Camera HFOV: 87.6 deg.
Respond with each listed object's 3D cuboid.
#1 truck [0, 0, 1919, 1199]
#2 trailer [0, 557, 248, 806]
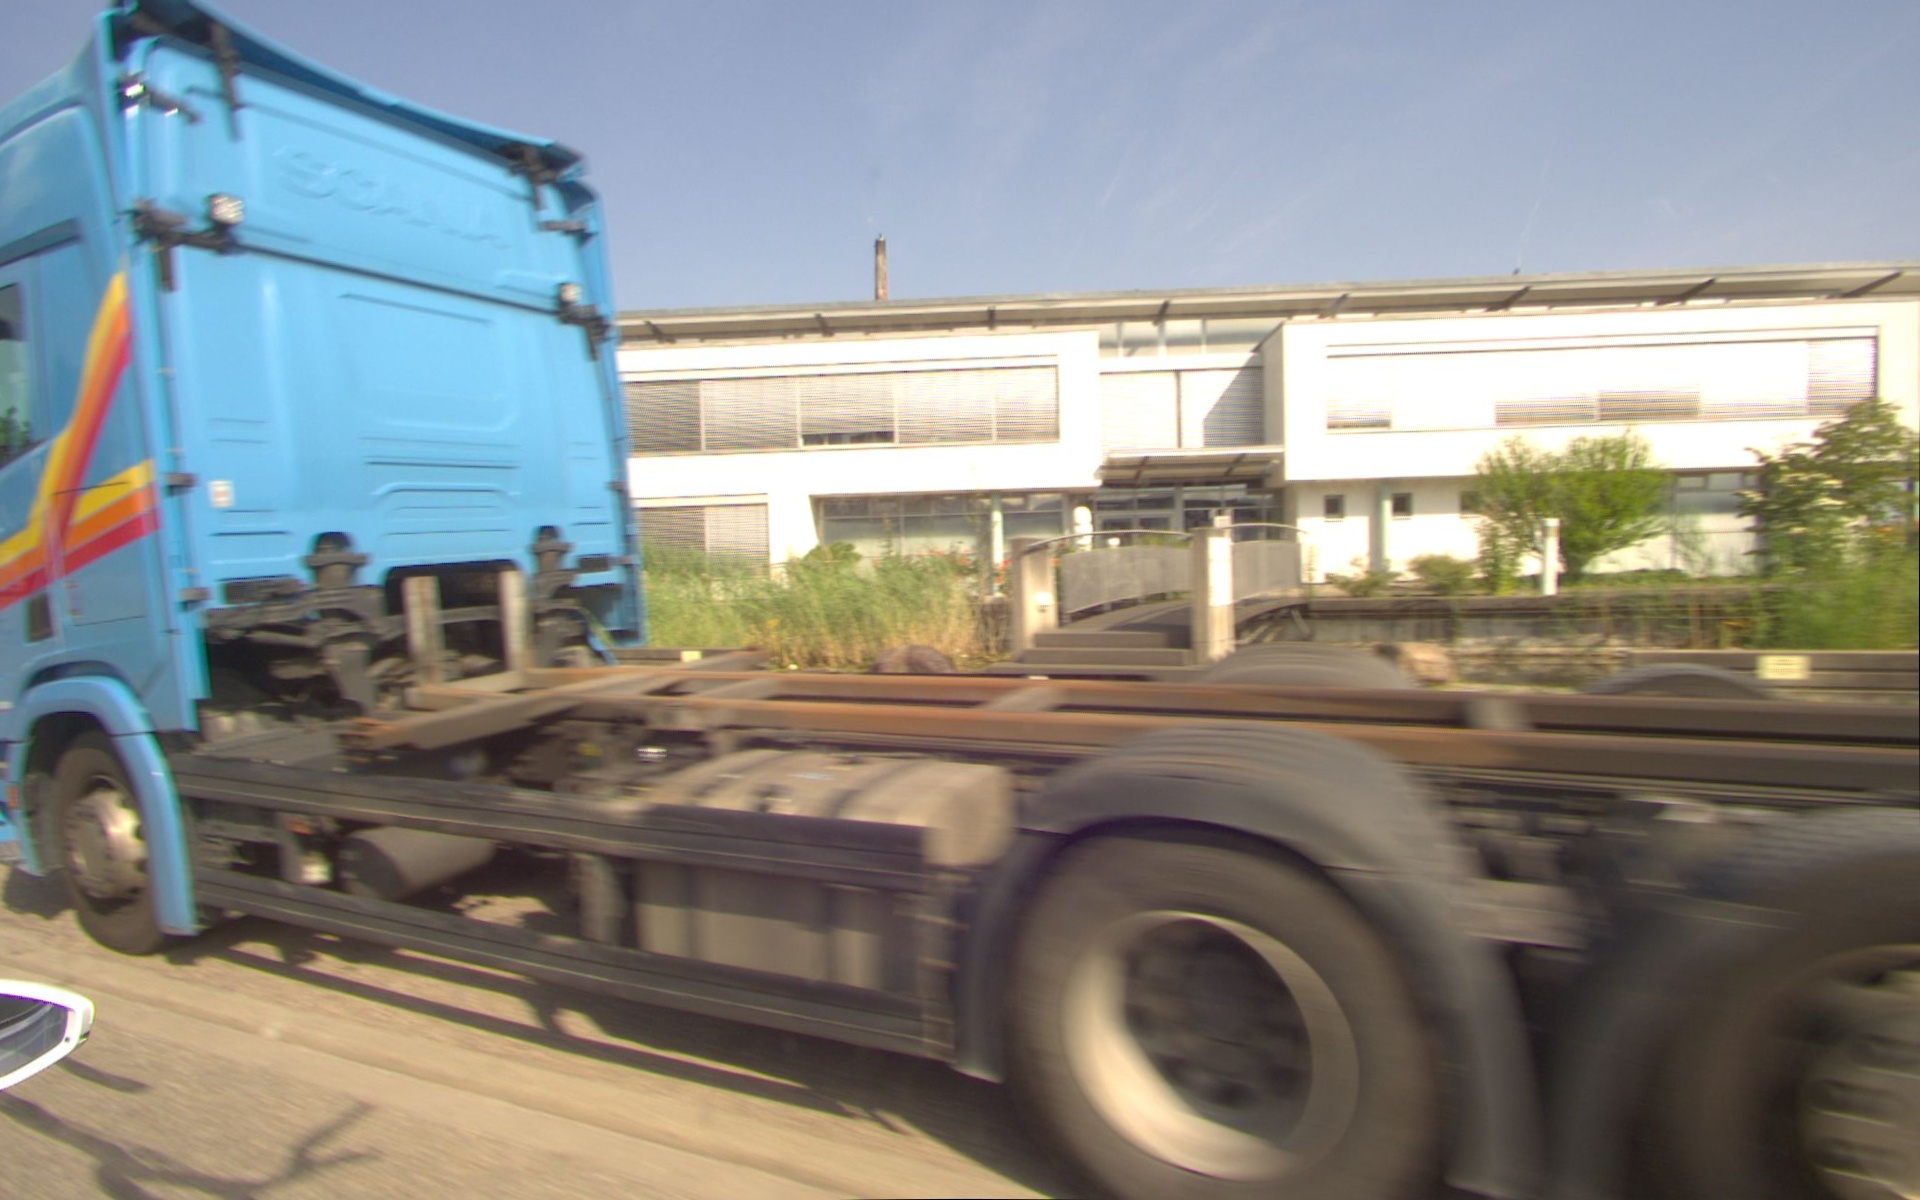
[{"bbox_3d":[-0.212,-0.478,3.845,9.599,3.586,2.884,-2,5,26],"label":"truck"},{"bbox_3d":[-13.456,0.673,10.085,15.909,1.596,2.743,-1,3,25],"label":"trailer"}]
